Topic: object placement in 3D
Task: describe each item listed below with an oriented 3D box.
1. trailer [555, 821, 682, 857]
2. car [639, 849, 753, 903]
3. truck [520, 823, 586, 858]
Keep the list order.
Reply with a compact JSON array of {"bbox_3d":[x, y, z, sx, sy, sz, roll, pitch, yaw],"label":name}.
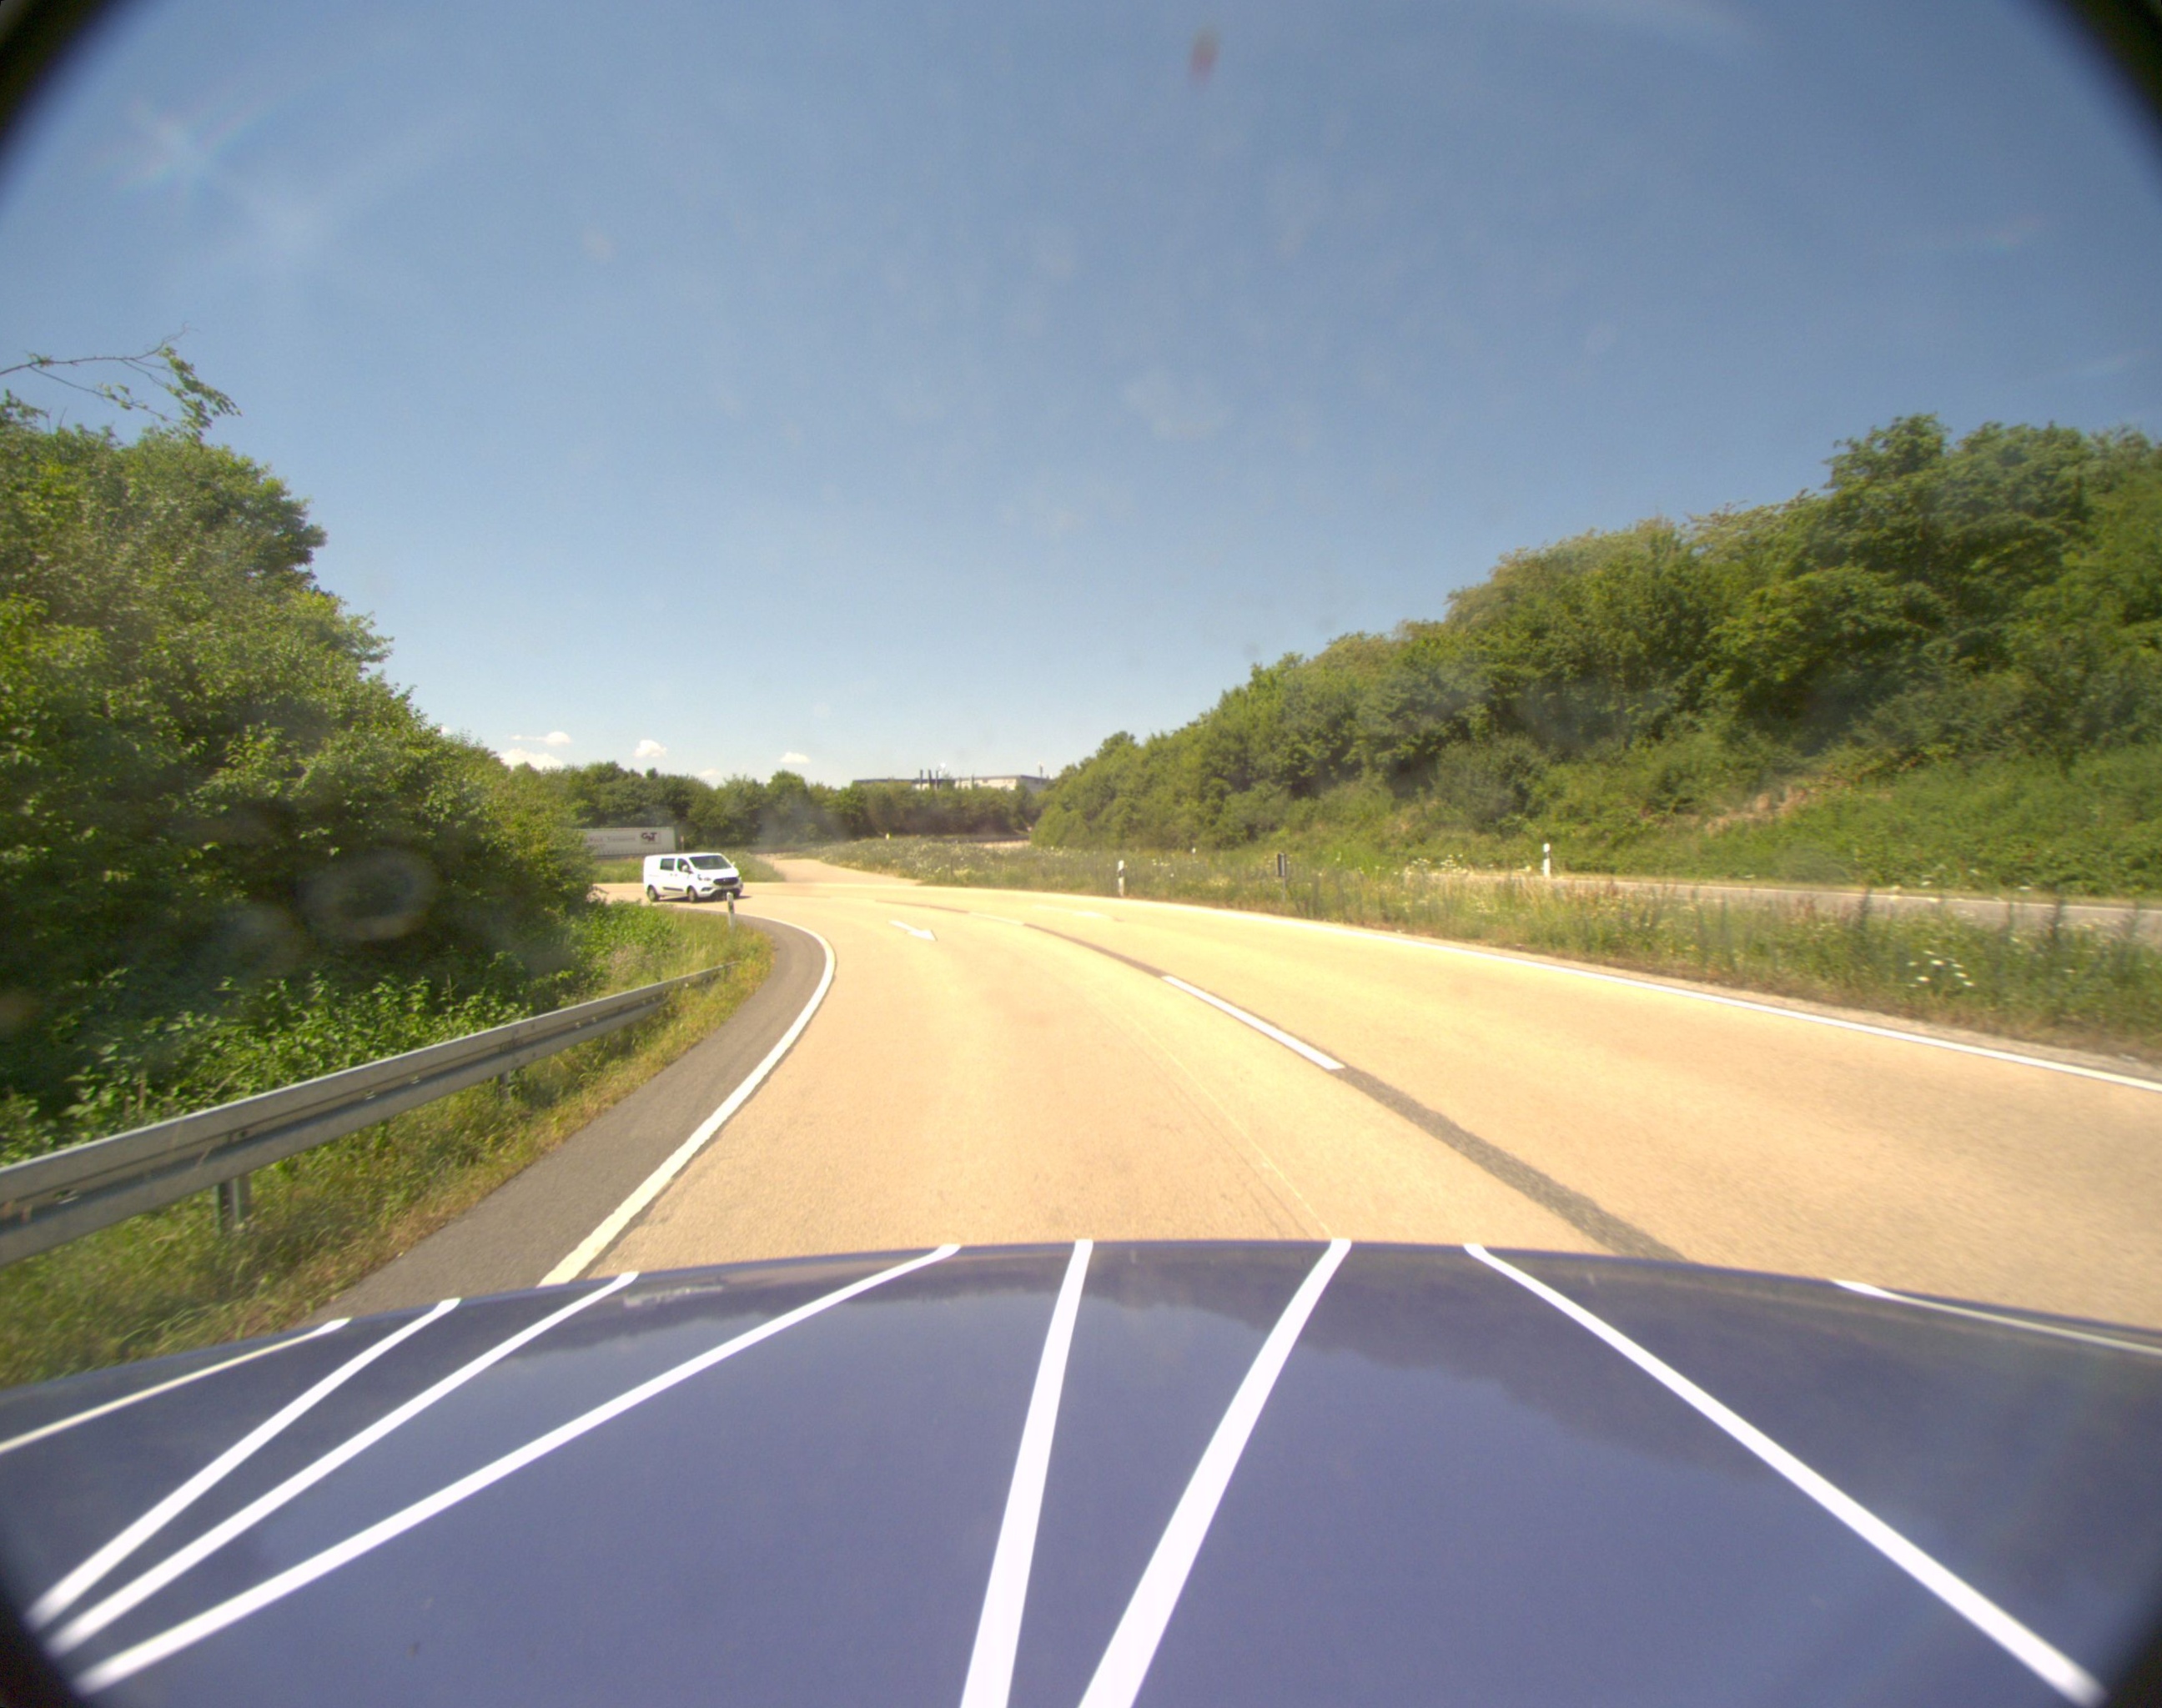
[{"bbox_3d":[-57.655,-2.037,95.347,2.913,3.918,13.297,0,3,36],"label":"trailer"},{"bbox_3d":[-16.372,0.911,32.199,5.027,2.003,2.067,-1,4,36],"label":"car"},{"bbox_3d":[-62.002,-1.605,89.317,2.913,3.918,5.427,0,3,36],"label":"truck"}]
